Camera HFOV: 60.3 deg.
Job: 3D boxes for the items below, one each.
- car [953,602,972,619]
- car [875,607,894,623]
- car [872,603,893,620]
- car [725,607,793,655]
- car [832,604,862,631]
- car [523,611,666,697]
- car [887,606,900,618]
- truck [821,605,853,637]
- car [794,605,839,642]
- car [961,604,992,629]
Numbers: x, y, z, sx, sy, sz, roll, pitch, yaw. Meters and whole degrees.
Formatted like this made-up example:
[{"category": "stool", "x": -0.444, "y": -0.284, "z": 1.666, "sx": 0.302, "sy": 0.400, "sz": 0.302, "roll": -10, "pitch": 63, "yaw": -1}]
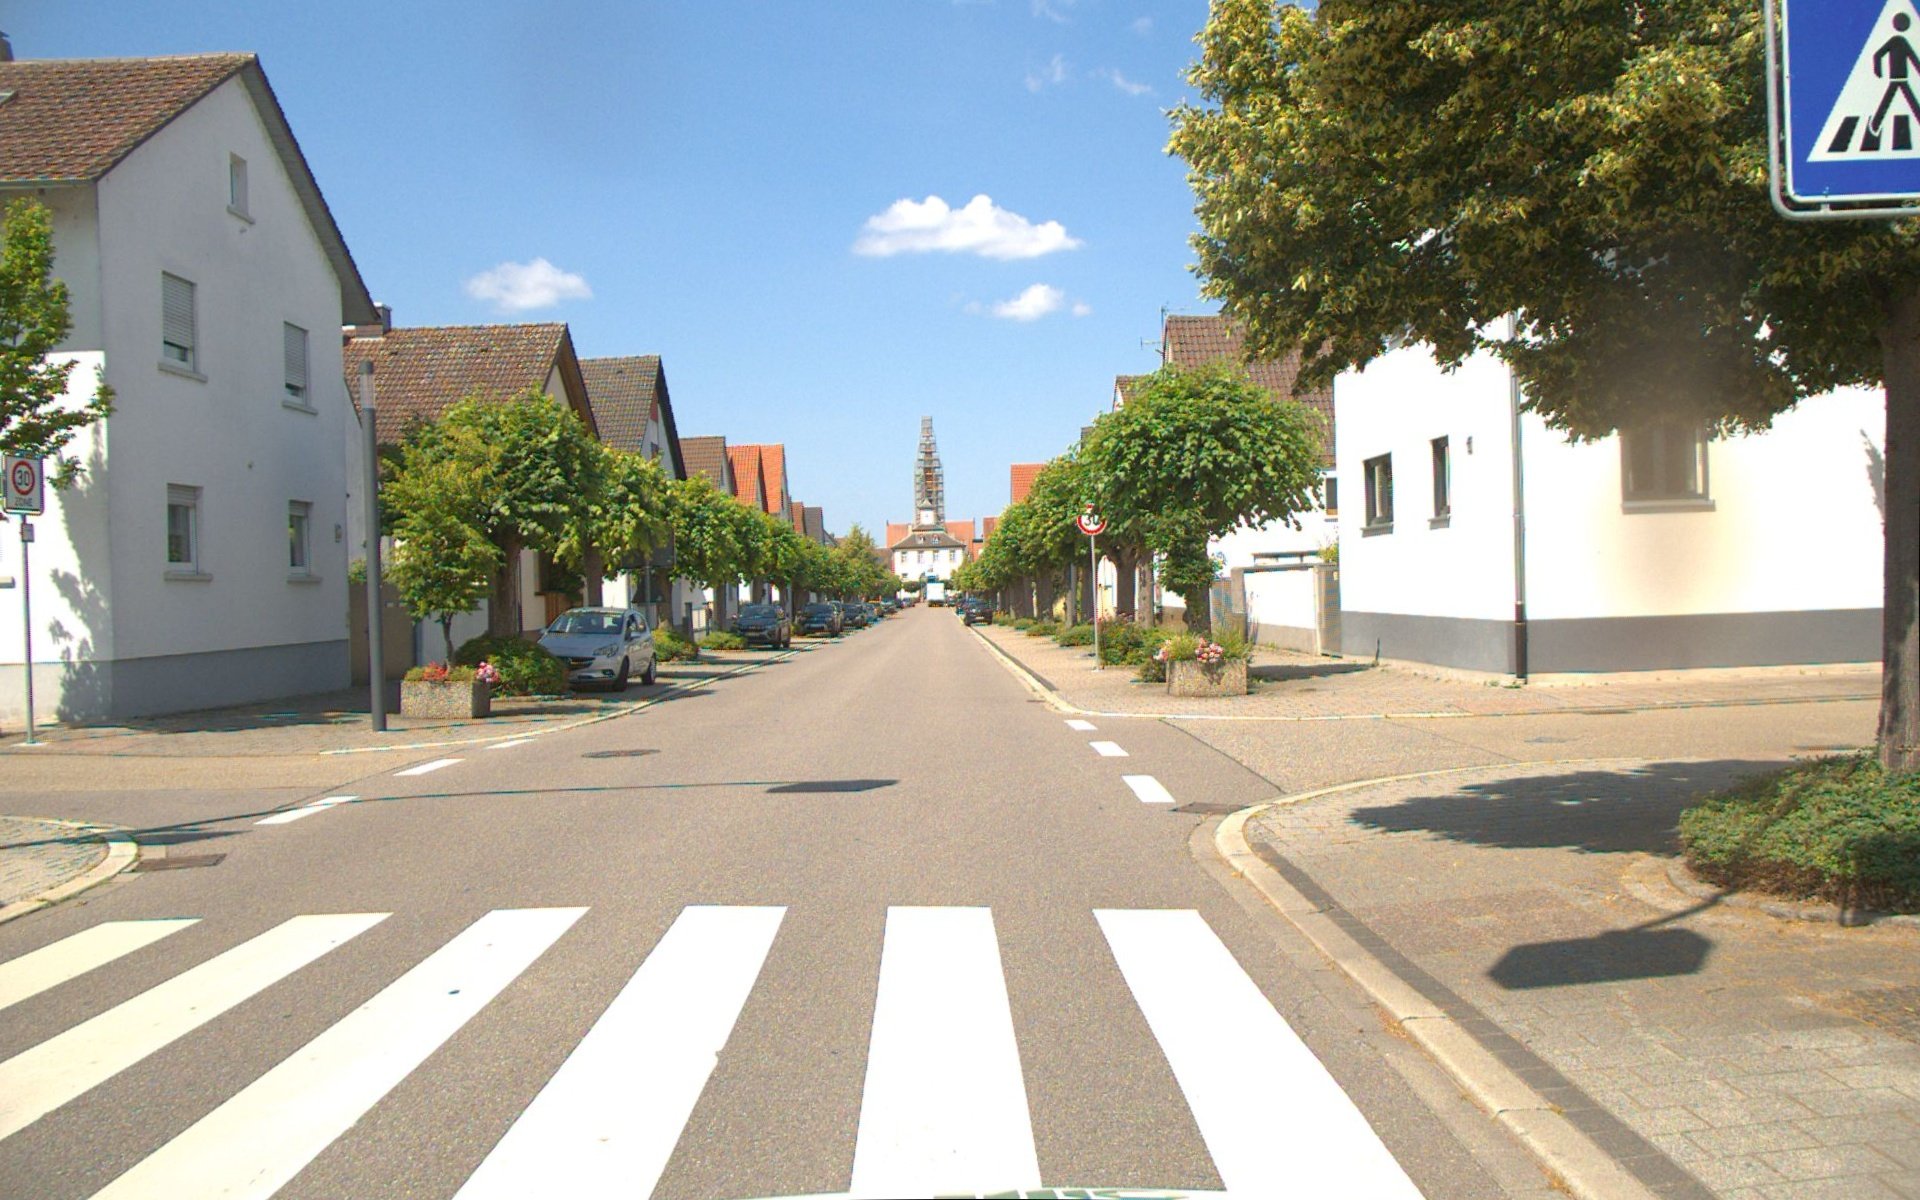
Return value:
[{"category": "car", "x": 0.246, "y": 1.104, "z": 174.427, "sx": 1.800, "sy": 1.582, "sz": 4.312, "roll": -3, "pitch": 0, "yaw": -1}, {"category": "car", "x": -8.588, "y": 1.694, "z": 188.041, "sx": 1.953, "sy": 1.639, "sz": 4.689, "roll": 1, "pitch": 0, "yaw": 0}, {"category": "car", "x": -7.769, "y": 1.156, "z": 166.178, "sx": 1.953, "sy": 1.639, "sz": 4.688, "roll": 0, "pitch": 0, "yaw": 0}, {"category": "car", "x": -7.129, "y": 1.079, "z": 58.965, "sx": 1.814, "sy": 1.641, "sz": 4.135, "roll": 0, "pitch": 0, "yaw": 1}, {"category": "car", "x": -7.130, "y": 1.121, "z": 104.274, "sx": 1.751, "sy": 1.662, "sz": 3.994, "roll": 0, "pitch": 0, "yaw": -6}, {"category": "car", "x": -6.797, "y": 0.971, "z": 31.147, "sx": 1.787, "sy": 1.509, "sz": 4.132, "roll": 0, "pitch": -1, "yaw": -1}, {"category": "car", "x": -9.268, "y": 1.731, "z": 231.278, "sx": 1.722, "sy": 1.582, "sz": 4.019, "roll": -2, "pitch": 0, "yaw": 0}, {"category": "truck", "x": -7.083, "y": 1.183, "z": 95.572, "sx": 1.544, "sy": 1.796, "sz": 4.191, "roll": 0, "pitch": 0, "yaw": -1}, {"category": "car", "x": -6.844, "y": 1.094, "z": 79.063, "sx": 1.815, "sy": 1.665, "sz": 4.298, "roll": 1, "pitch": 0, "yaw": -1}, {"category": "car", "x": 1.045, "y": 1.034, "z": 104.866, "sx": 1.787, "sy": 1.457, "sz": 4.056, "roll": -4, "pitch": 0, "yaw": -1}]
